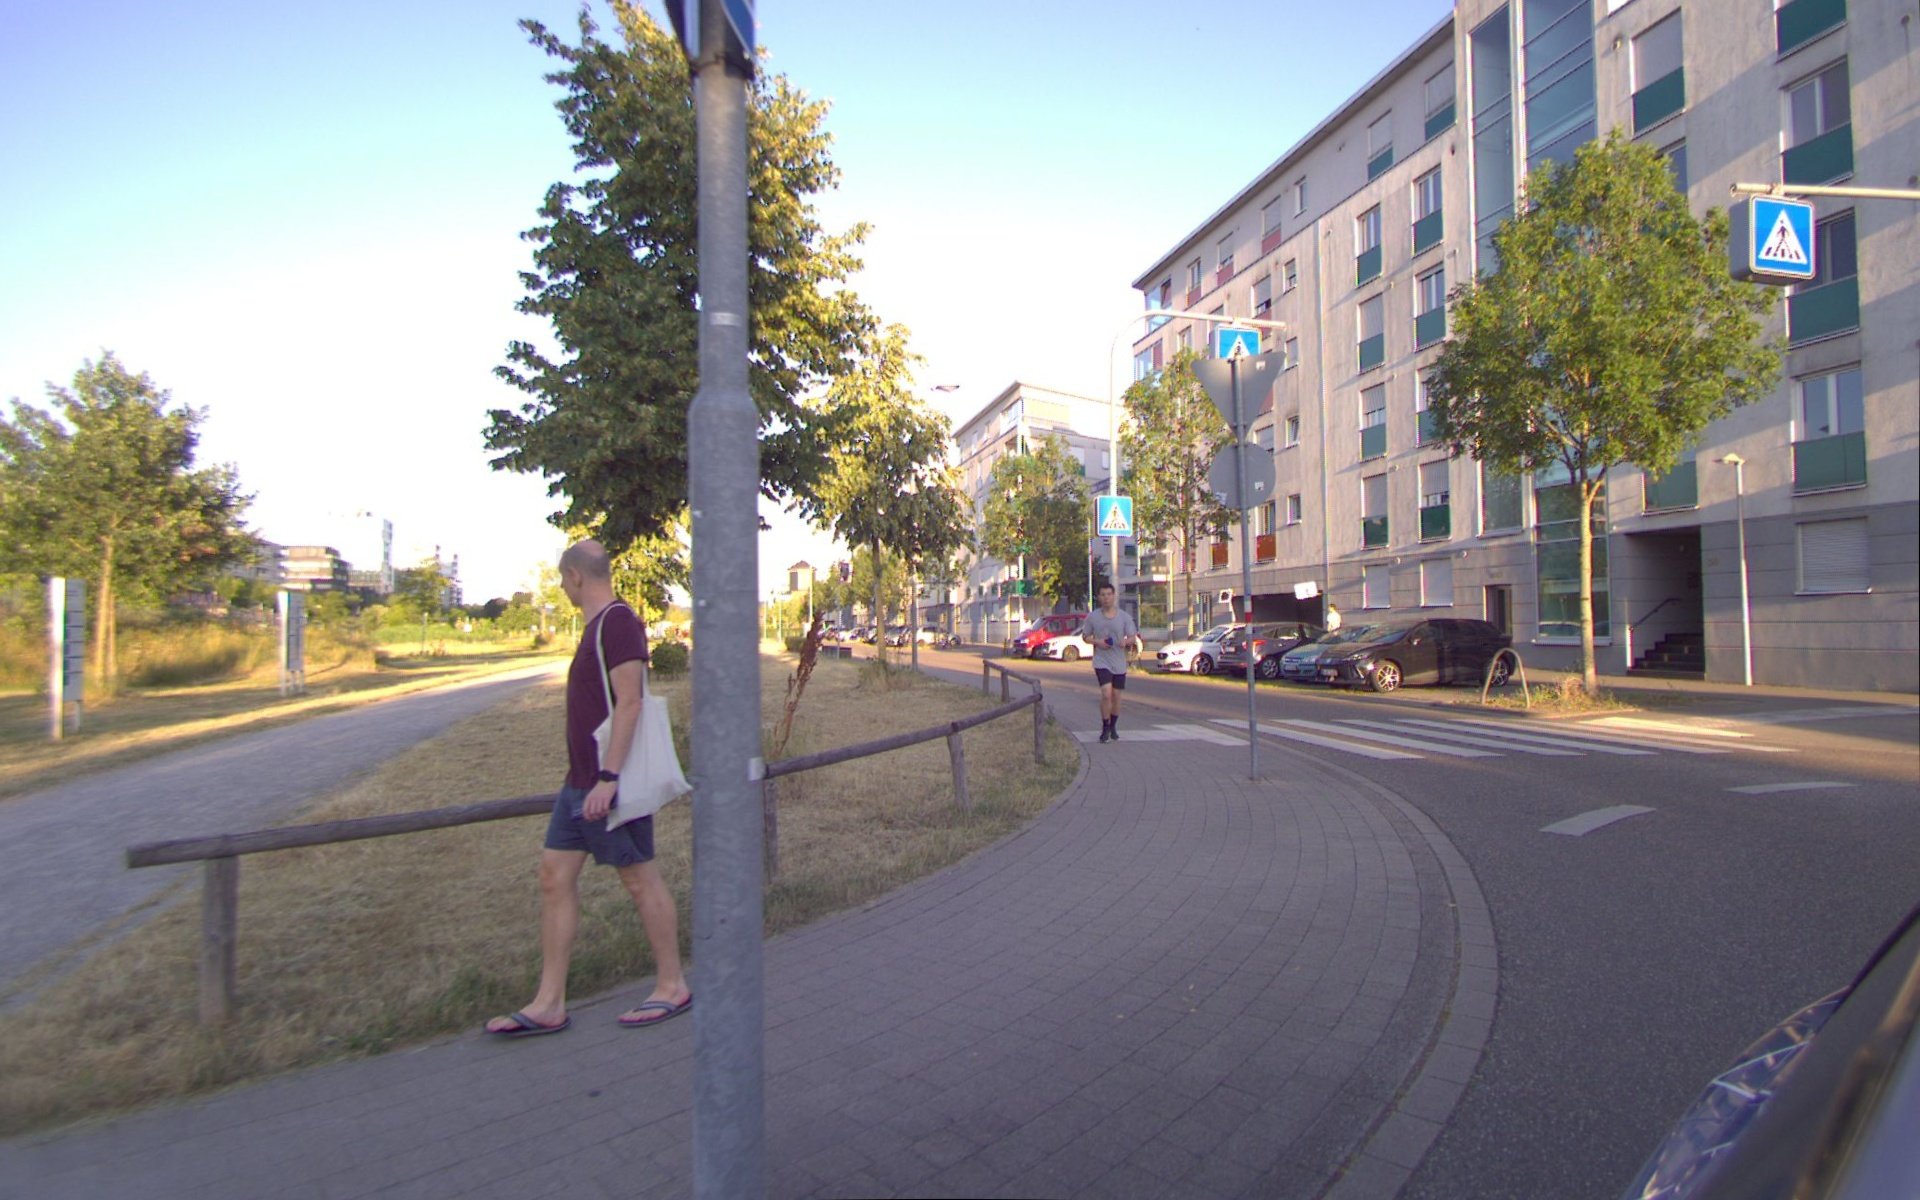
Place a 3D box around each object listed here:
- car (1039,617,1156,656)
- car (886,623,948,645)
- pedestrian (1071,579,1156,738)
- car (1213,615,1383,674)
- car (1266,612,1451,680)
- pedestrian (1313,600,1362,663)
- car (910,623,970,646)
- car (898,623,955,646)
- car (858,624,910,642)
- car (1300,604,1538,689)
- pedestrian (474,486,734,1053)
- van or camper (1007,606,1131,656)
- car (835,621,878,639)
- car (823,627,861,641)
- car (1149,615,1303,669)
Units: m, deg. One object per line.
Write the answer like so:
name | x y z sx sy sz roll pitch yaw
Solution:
car | 5.571 1.485 41.176 4.373 1.541 1.704 1 -2 -15
car | -3.262 2.565 76.123 4.320 1.613 1.955 1 -2 -16
pedestrian | 1.739 0.656 11.574 0.751 1.752 0.803 0 -2 -9
car | 8.944 1.170 26.867 3.971 1.499 1.704 1 -2 -15
car | 9.626 1.092 24.503 3.922 1.391 1.562 -2 -1 -15
pedestrian | 11.683 0.980 31.340 0.959 1.919 1.051 1 -2 -13
car | -1.419 2.427 71.187 3.872 1.613 1.782 1 -2 -16
car | -2.439 2.495 73.630 3.872 1.613 1.782 1 -2 -16
car | -6.785 2.982 90.705 4.320 1.613 1.955 1 -2 -16
car | 9.770 0.955 21.618 4.387 1.506 1.836 -2 -1 -15
pedestrian | -1.255 0.547 3.698 0.785 1.807 0.735 1 -2 -15
van or camper | 4.719 1.349 44.076 5.023 2.087 1.881 1 -2 -15
car | -11.328 3.269 110.659 4.320 1.863 1.955 1 -2 -17
car | -14.346 4.122 122.773 4.320 1.749 1.955 1 -2 -17
car | 7.683 1.211 29.339 3.971 1.499 1.704 1 -2 -15
